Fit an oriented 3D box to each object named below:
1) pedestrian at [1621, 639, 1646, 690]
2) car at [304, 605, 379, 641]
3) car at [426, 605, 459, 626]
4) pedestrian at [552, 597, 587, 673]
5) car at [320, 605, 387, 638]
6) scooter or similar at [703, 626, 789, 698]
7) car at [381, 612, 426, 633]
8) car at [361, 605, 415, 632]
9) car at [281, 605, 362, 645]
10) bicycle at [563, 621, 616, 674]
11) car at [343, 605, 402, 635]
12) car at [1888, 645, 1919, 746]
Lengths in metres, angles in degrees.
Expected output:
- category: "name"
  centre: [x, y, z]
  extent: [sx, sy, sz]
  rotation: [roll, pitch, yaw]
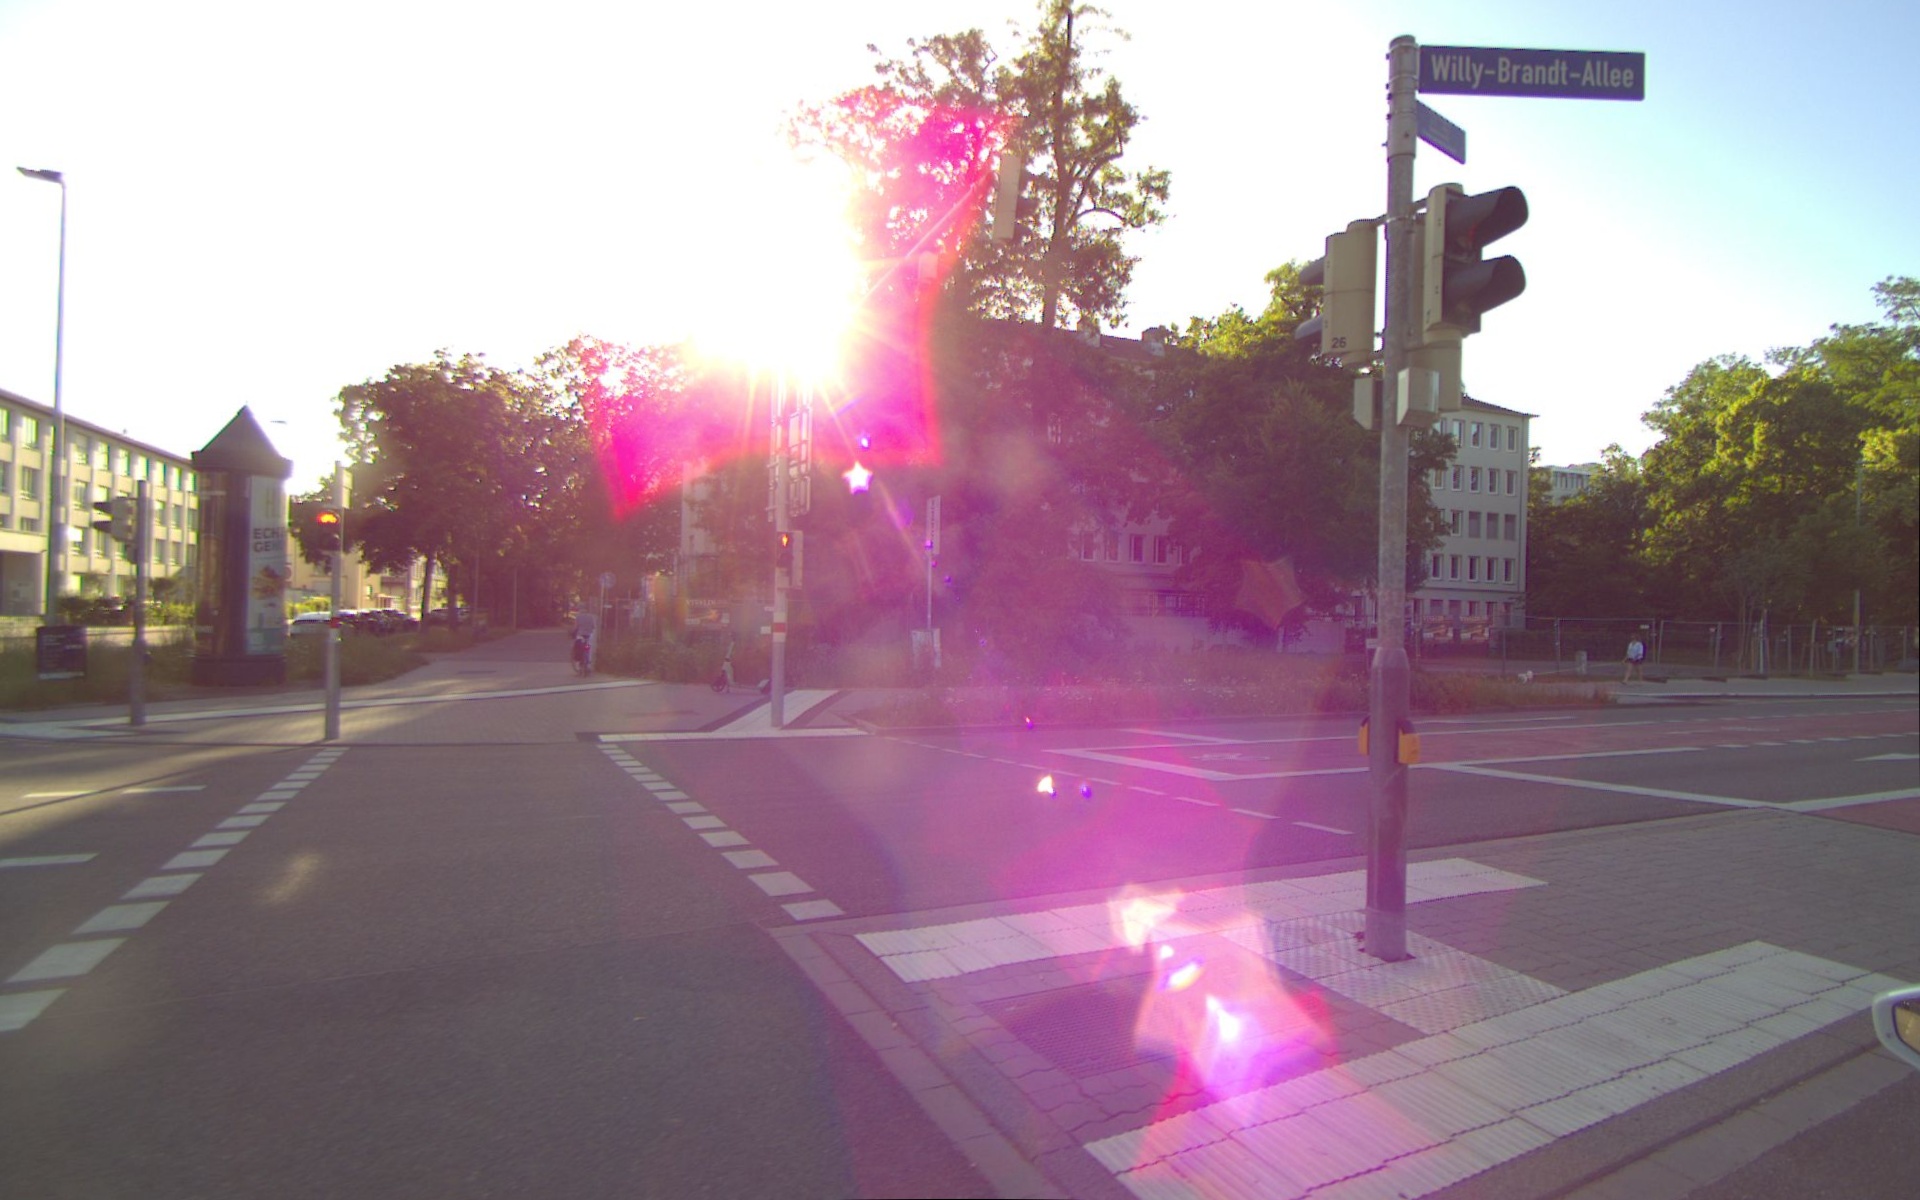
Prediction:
- category: "pedestrian"
  centre: [20.950, 2.004, 31.249]
  extent: [0.565, 1.554, 0.448]
  rotation: [2, -1, -34]
- category: "car"
  centre: [-29.024, 1.052, 47.257]
  extent: [2.205, 1.560, 4.238]
  rotation: [2, -1, -21]
- category: "car"
  centre: [-41.784, 1.244, 81.185]
  extent: [1.784, 1.607, 3.982]
  rotation: [2, -1, -20]
- category: "pedestrian"
  centre: [-9.128, 0.807, 23.468]
  extent: [0.634, 1.718, 0.974]
  rotation: [2, -1, -25]
- category: "car"
  centre: [-31.220, 1.093, 51.858]
  extent: [2.205, 1.560, 4.238]
  rotation: [2, -1, -21]
- category: "scooter or similar"
  centre: [-4.141, 1.193, 19.487]
  extent: [1.466, 1.311, 0.695]
  rotation: [2, -1, 0]
- category: "car"
  centre: [-36.247, 1.450, 65.501]
  extent: [1.970, 1.257, 3.981]
  rotation: [2, -1, -21]
- category: "car"
  centre: [-34.804, 1.113, 61.244]
  extent: [2.205, 1.560, 4.238]
  rotation: [2, -1, -21]
- category: "car"
  centre: [-26.721, 1.041, 42.191]
  extent: [2.038, 1.560, 4.238]
  rotation: [2, -1, -21]
- category: "bicycle"
  centre: [-8.823, 1.109, 23.856]
  extent: [0.967, 1.151, 2.563]
  rotation: [2, -1, -25]
- category: "car"
  centre: [-33.006, 1.094, 56.544]
  extent: [2.205, 1.560, 4.238]
  rotation: [2, -1, -21]
- category: "car"
  centre: [16.086, 1.474, 15.173]
  extent: [4.499, 1.440, 1.703]
  rotation: [3, -1, -29]
